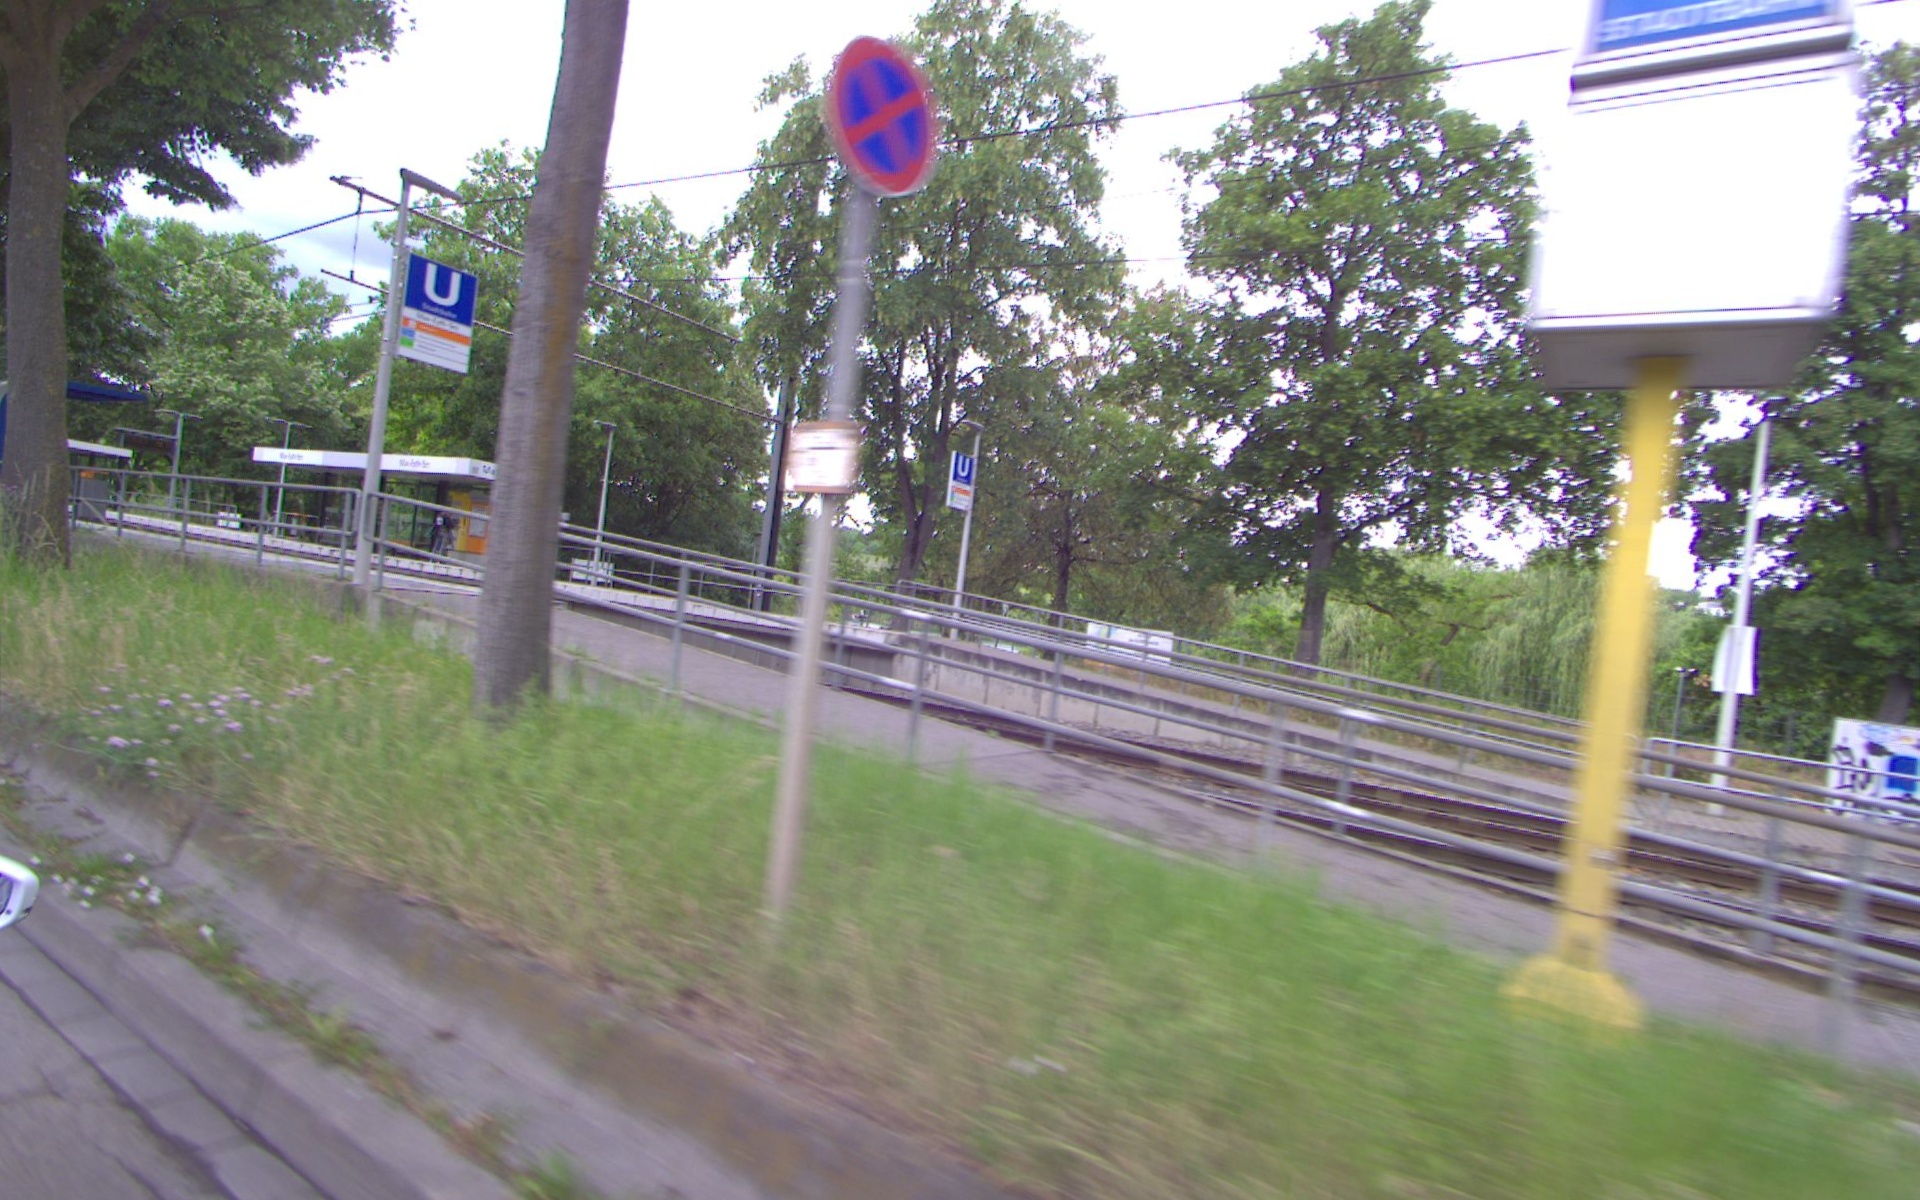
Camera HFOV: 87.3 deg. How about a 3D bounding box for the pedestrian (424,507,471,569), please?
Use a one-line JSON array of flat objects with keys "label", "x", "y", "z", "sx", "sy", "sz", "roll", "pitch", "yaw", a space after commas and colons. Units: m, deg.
[{"label": "pedestrian", "x": -13.789, "y": -1.671, "z": 27.062, "sx": 0.712, "sy": 1.528, "sz": 0.719, "roll": 6, "pitch": -2, "yaw": 35}]
